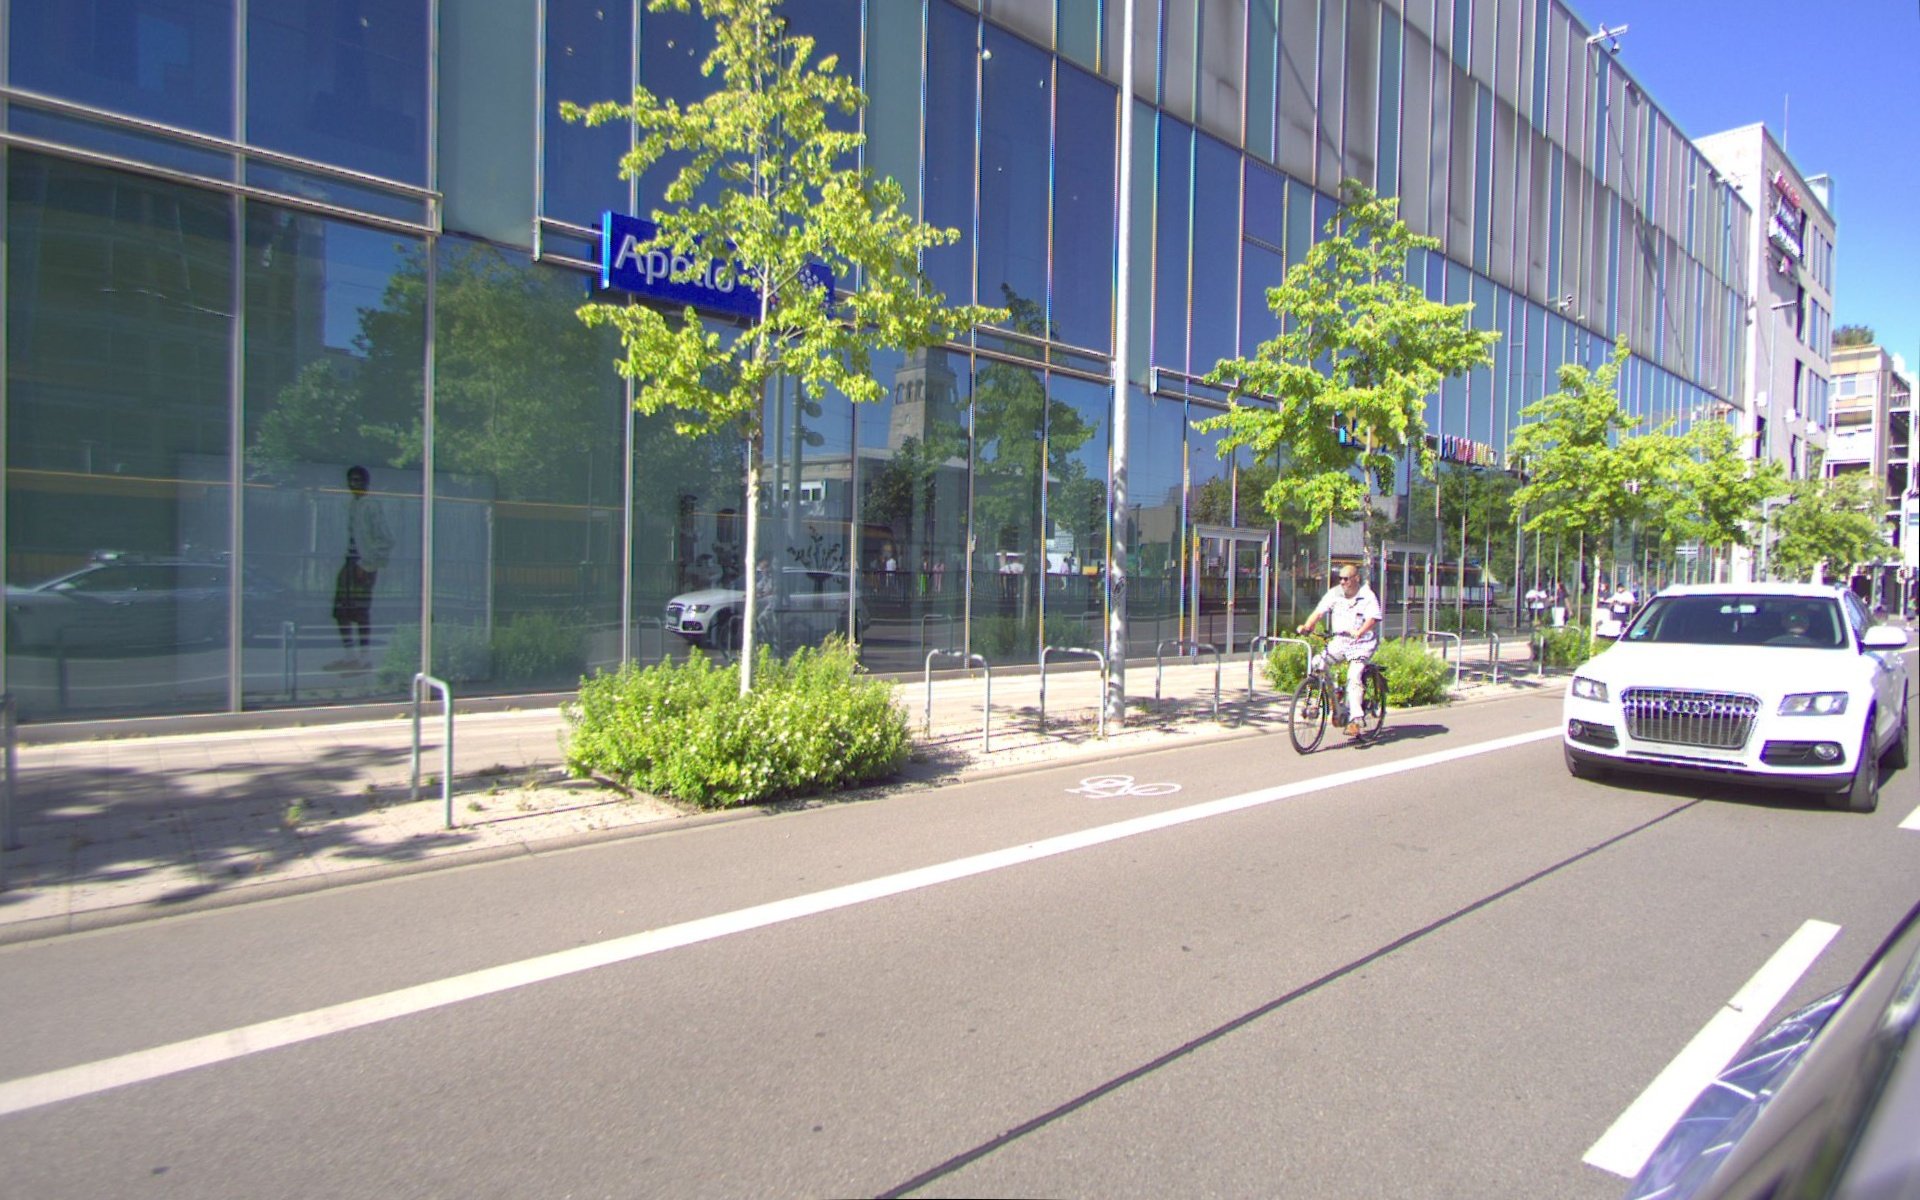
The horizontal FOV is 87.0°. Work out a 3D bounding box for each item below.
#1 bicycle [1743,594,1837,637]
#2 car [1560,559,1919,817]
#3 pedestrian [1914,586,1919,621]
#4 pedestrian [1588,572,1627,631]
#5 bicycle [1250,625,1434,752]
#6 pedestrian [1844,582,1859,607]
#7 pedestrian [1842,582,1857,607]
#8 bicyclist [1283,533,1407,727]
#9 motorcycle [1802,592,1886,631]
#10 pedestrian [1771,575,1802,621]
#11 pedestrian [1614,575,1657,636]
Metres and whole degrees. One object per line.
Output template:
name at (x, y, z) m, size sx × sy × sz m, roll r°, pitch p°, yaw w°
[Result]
bicycle at (26.432, 0.471, 32.278) m, size 0.932 × 1.220 × 2.094 m, roll 0°, pitch 3°, yaw -33°
car at (6.806, 0.532, 8.548) m, size 4.337 × 1.634 × 1.822 m, roll 0°, pitch 1°, yaw -42°
pedestrian at (47.617, 0.199, 49.900) m, size 0.686 × 1.723 × 0.658 m, roll 0°, pitch 4°, yaw -42°
pedestrian at (19.185, 0.031, 29.963) m, size 0.885 × 1.678 × 0.707 m, roll 0°, pitch 3°, yaw -44°
bicycle at (3.742, 0.794, 9.791) m, size 2.294 × 0.995 × 0.729 m, roll -1°, pitch 2°, yaw -44°
pedestrian at (59.149, -0.362, 67.117) m, size 0.659 × 1.632 × 0.519 m, roll 5°, pitch 3°, yaw 42°
pedestrian at (59.474, -0.361, 67.682) m, size 0.659 × 1.632 × 0.519 m, roll 5°, pitch 3°, yaw 42°
bicyclist at (3.709, 0.255, 9.745) m, size 0.981 × 1.758 × 0.725 m, roll 0°, pitch 2°, yaw -44°
motorcycle at (33.022, 0.410, 37.834) m, size 0.886 × 1.340 × 2.197 m, roll 0°, pitch 3°, yaw -35°
pedestrian at (34.119, -0.092, 41.775) m, size 1.047 × 1.823 × 0.730 m, roll 0°, pitch 3°, yaw -40°
pedestrian at (19.362, 0.143, 29.013) m, size 0.885 × 1.678 × 0.821 m, roll 0°, pitch 2°, yaw -44°
